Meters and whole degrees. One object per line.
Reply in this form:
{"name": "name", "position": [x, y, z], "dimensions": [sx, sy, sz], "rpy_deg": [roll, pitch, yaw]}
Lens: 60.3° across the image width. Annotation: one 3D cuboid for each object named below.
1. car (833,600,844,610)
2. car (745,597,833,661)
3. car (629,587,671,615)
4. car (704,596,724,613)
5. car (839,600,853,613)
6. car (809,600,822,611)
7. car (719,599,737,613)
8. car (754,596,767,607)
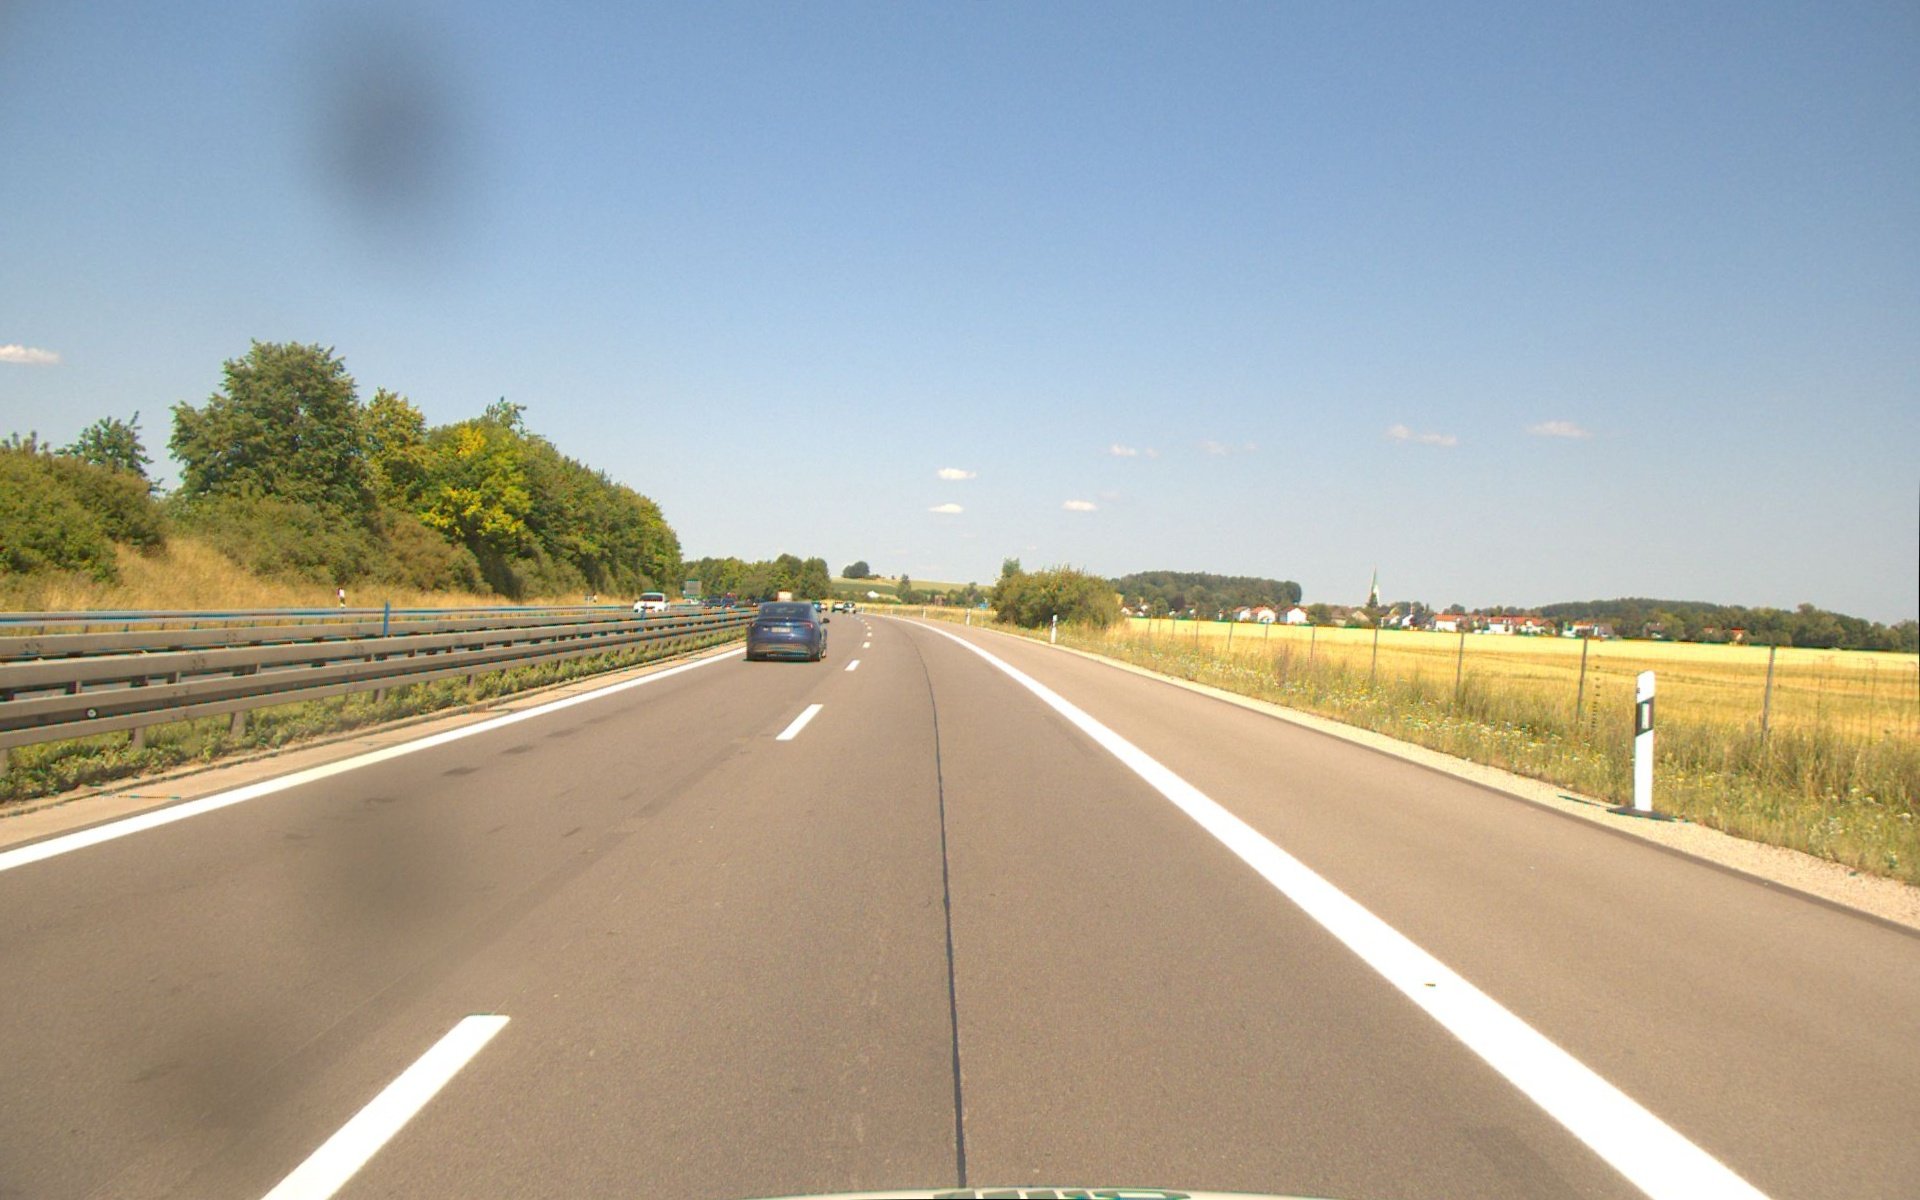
{"name": "car", "position": [-18.064, 0.690, 245.568], "dimensions": [1.643, 1.478, 3.588], "rpy_deg": [1, 0, -5]}
{"name": "car", "position": [-4.297, 0.679, 42.375], "dimensions": [1.810, 1.458, 5.864], "rpy_deg": [1, 0, -2]}
{"name": "car", "position": [-18.205, 0.049, 97.337], "dimensions": [1.716, 1.592, 4.578], "rpy_deg": [2, 0, -3]}
{"name": "car", "position": [-23.048, 0.399, 155.146], "dimensions": [1.547, 1.487, 4.149], "rpy_deg": [2, 0, -5]}
{"name": "car", "position": [-14.481, 0.812, 209.410], "dimensions": [1.643, 1.478, 3.588], "rpy_deg": [1, 0, -5]}
{"name": "car", "position": [-19.623, 0.750, 224.930], "dimensions": [1.643, 1.478, 3.589], "rpy_deg": [1, 0, -4]}
{"name": "car", "position": [-25.503, 0.650, 181.876], "dimensions": [1.629, 1.447, 3.997], "rpy_deg": [1, 0, -4]}
{"name": "car", "position": [-27.840, 0.245, 230.958], "dimensions": [1.629, 1.447, 3.997], "rpy_deg": [1, 0, -4]}
